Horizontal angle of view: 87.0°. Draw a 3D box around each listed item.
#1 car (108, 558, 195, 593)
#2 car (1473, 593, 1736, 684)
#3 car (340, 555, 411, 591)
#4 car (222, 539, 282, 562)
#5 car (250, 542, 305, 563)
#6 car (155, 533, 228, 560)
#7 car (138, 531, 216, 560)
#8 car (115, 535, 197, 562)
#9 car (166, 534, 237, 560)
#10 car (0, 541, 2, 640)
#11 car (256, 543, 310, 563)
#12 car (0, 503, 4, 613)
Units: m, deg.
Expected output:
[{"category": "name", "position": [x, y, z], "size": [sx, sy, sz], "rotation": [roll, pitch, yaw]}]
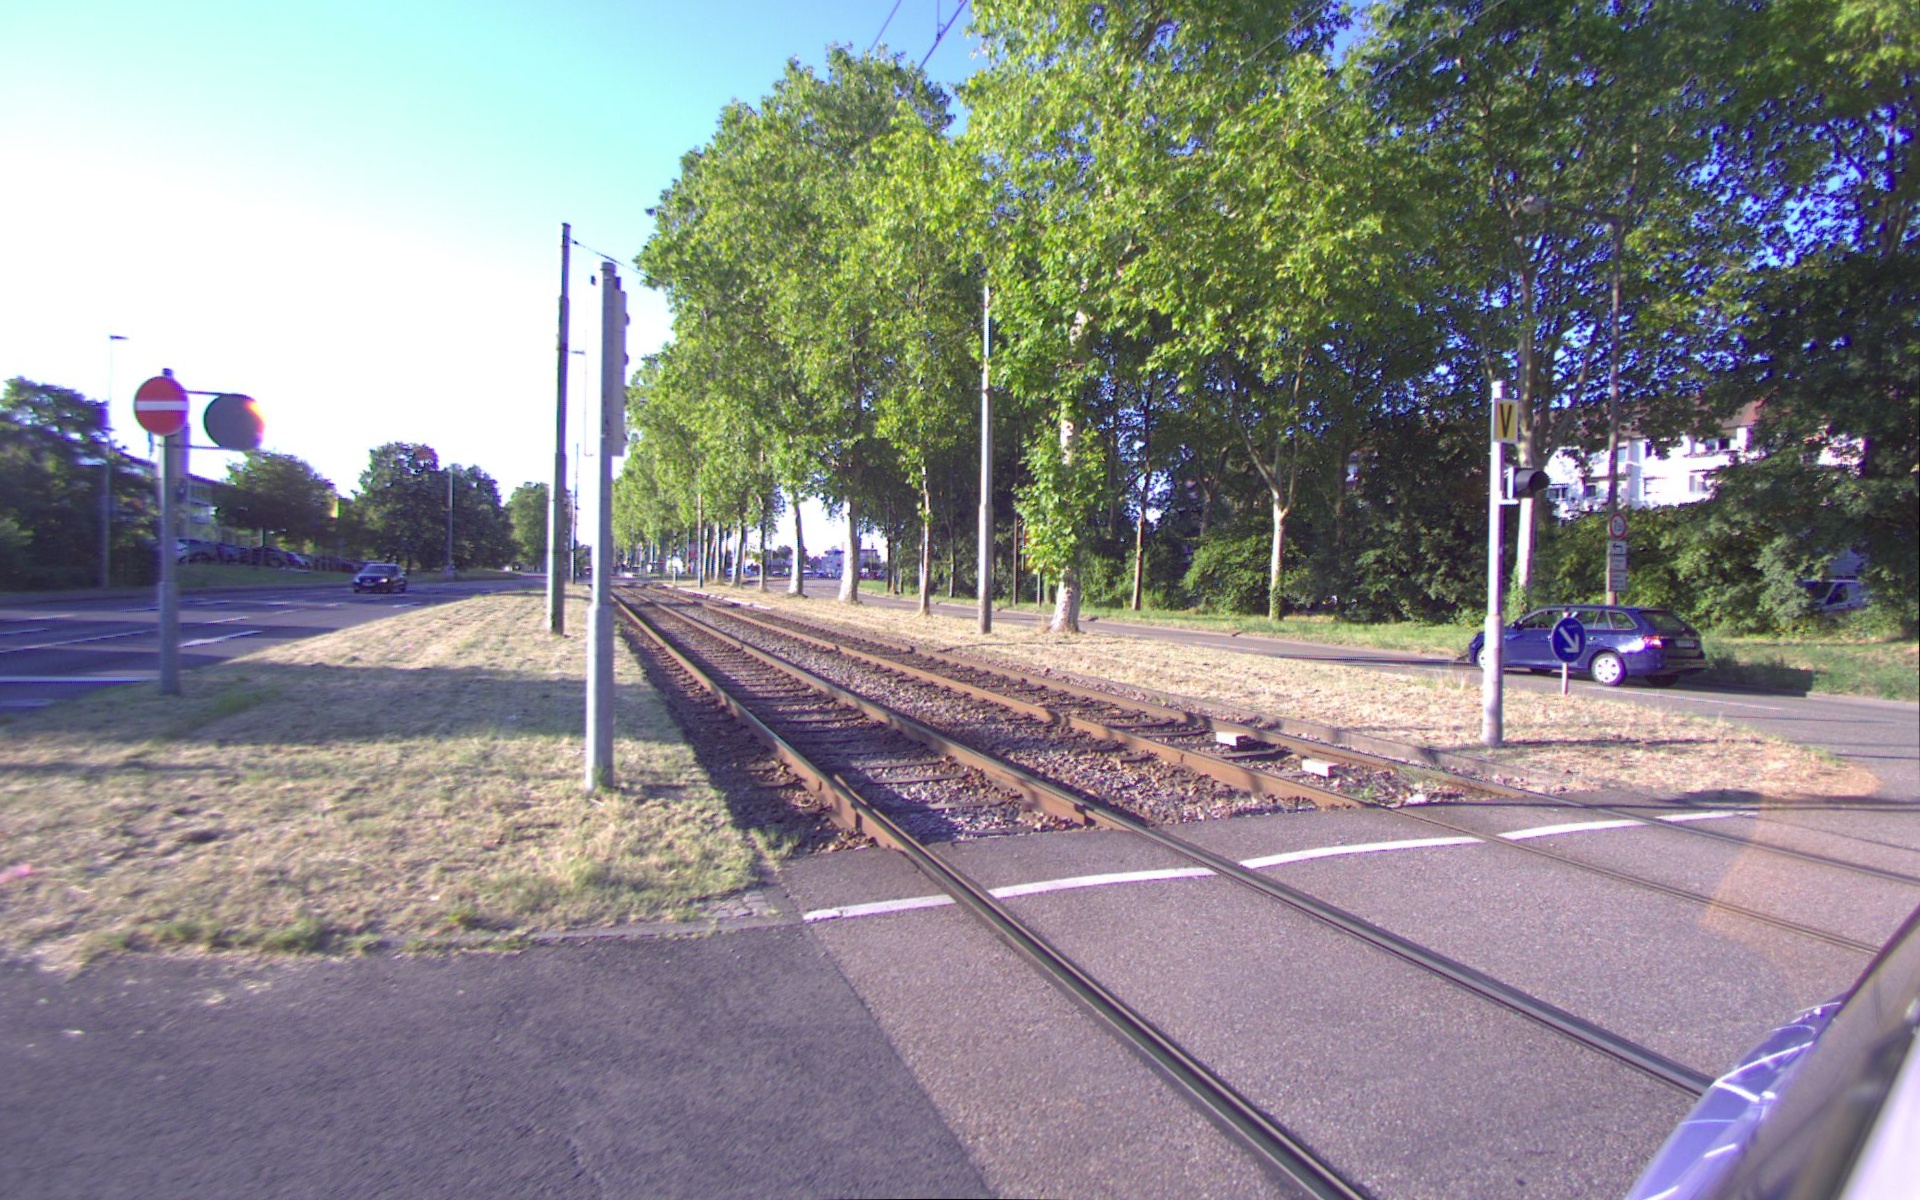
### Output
[{"category": "car", "position": [-45.720, -1.376, 57.288], "size": [3.731, 1.883, 1.758], "rotation": [1, 1, -40]}, {"category": "car", "position": [11.975, 0.653, 19.126], "size": [1.596, 1.460, 3.994], "rotation": [2, 1, -21]}, {"category": "car", "position": [-29.065, -1.347, 50.441], "size": [1.777, 1.705, 4.008], "rotation": [1, 1, -10]}, {"category": "car", "position": [-55.732, -3.861, 79.726], "size": [3.731, 1.586, 1.758], "rotation": [1, 1, -40]}, {"category": "car", "position": [-57.719, -4.010, 85.588], "size": [3.731, 1.586, 1.758], "rotation": [1, 1, -40]}, {"category": "car", "position": [-50.023, -3.475, 65.898], "size": [3.731, 1.586, 1.758], "rotation": [1, 1, -40]}, {"category": "car", "position": [-48.424, -3.375, 62.623], "size": [3.731, 1.586, 1.758], "rotation": [1, 1, -40]}, {"category": "car", "position": [-47.277, -3.001, 59.544], "size": [3.731, 1.406, 1.758], "rotation": [1, 1, -40]}, {"category": "car", "position": [-51.195, -3.548, 68.317], "size": [3.731, 1.586, 1.758], "rotation": [1, 1, -40]}, {"category": "car", "position": [-15.995, -0.121, 14.438], "size": [1.837, 1.638, 4.009], "rotation": [1, 1, -18]}, {"category": "car", "position": [-58.921, -4.086, 88.122], "size": [3.731, 1.586, 1.758], "rotation": [1, 1, -40]}, {"category": "car", "position": [-22.686, -0.933, 20.964], "size": [1.967, 2.598, 5.889], "rotation": [1, 1, -20]}]
